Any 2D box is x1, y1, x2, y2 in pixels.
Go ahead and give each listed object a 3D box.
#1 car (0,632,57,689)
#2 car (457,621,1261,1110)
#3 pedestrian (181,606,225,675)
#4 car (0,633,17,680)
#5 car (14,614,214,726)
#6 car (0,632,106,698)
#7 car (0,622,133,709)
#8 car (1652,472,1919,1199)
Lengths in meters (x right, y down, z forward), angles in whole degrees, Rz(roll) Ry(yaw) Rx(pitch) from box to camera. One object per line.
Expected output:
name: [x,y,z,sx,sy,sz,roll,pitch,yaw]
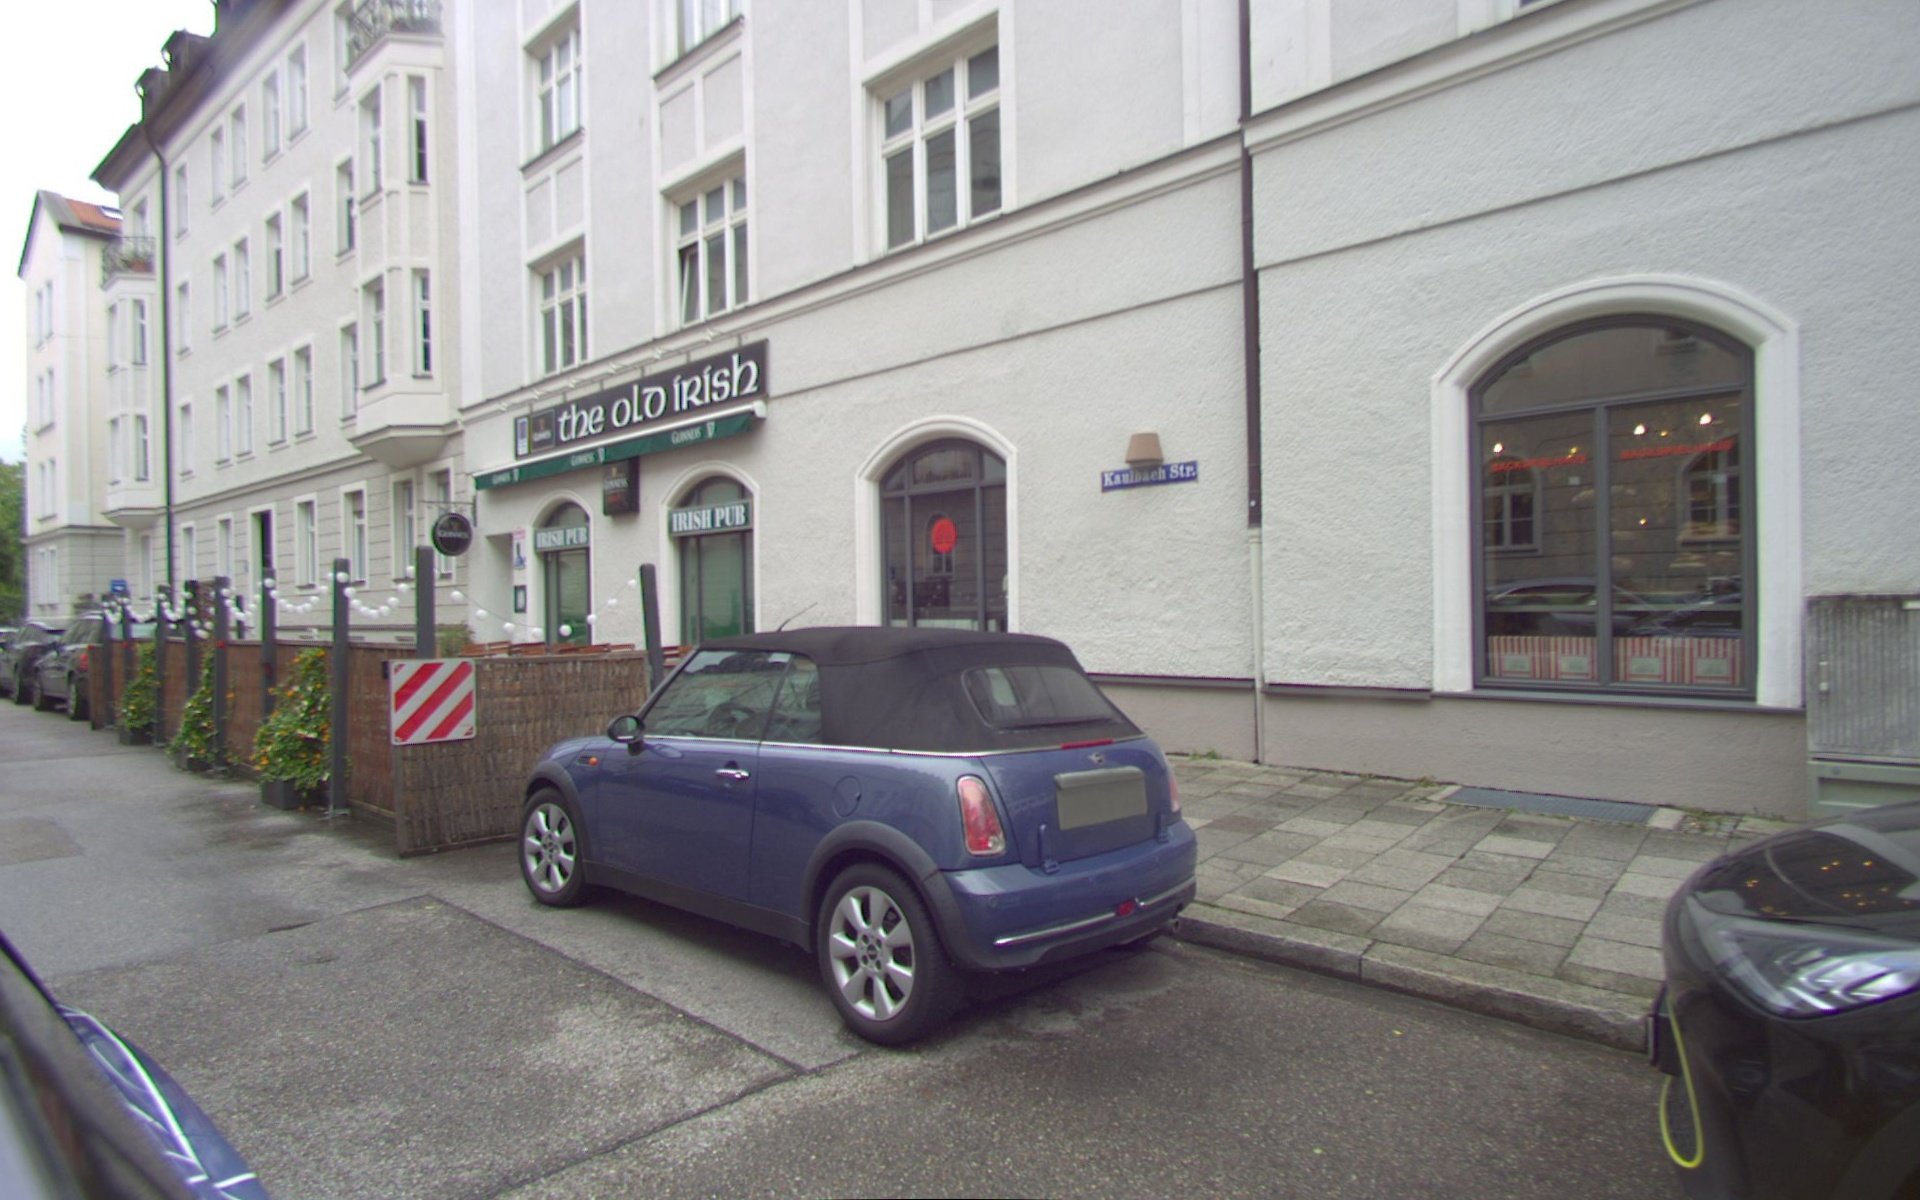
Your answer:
car: [-25.689,1.567,26.926,4.506,1.430,1.776,-1,-3,40]
car: [-0.790,0.815,4.921,4.000,1.401,1.688,-1,-2,43]
pedestrian: [-19.137,1.011,25.595,0.654,1.720,0.702,-1,0,-17]
car: [-30.222,1.718,30.546,4.694,1.377,1.832,-2,-1,37]
car: [-14.414,1.142,17.174,4.270,1.686,1.729,-2,-4,38]
car: [-21.759,1.456,23.605,4.434,1.396,1.794,-2,-2,36]
car: [-18.010,1.229,20.033,4.176,1.498,1.725,-2,-1,39]
car: [3.224,0.607,1.069,3.943,1.609,1.659,-1,-2,41]
